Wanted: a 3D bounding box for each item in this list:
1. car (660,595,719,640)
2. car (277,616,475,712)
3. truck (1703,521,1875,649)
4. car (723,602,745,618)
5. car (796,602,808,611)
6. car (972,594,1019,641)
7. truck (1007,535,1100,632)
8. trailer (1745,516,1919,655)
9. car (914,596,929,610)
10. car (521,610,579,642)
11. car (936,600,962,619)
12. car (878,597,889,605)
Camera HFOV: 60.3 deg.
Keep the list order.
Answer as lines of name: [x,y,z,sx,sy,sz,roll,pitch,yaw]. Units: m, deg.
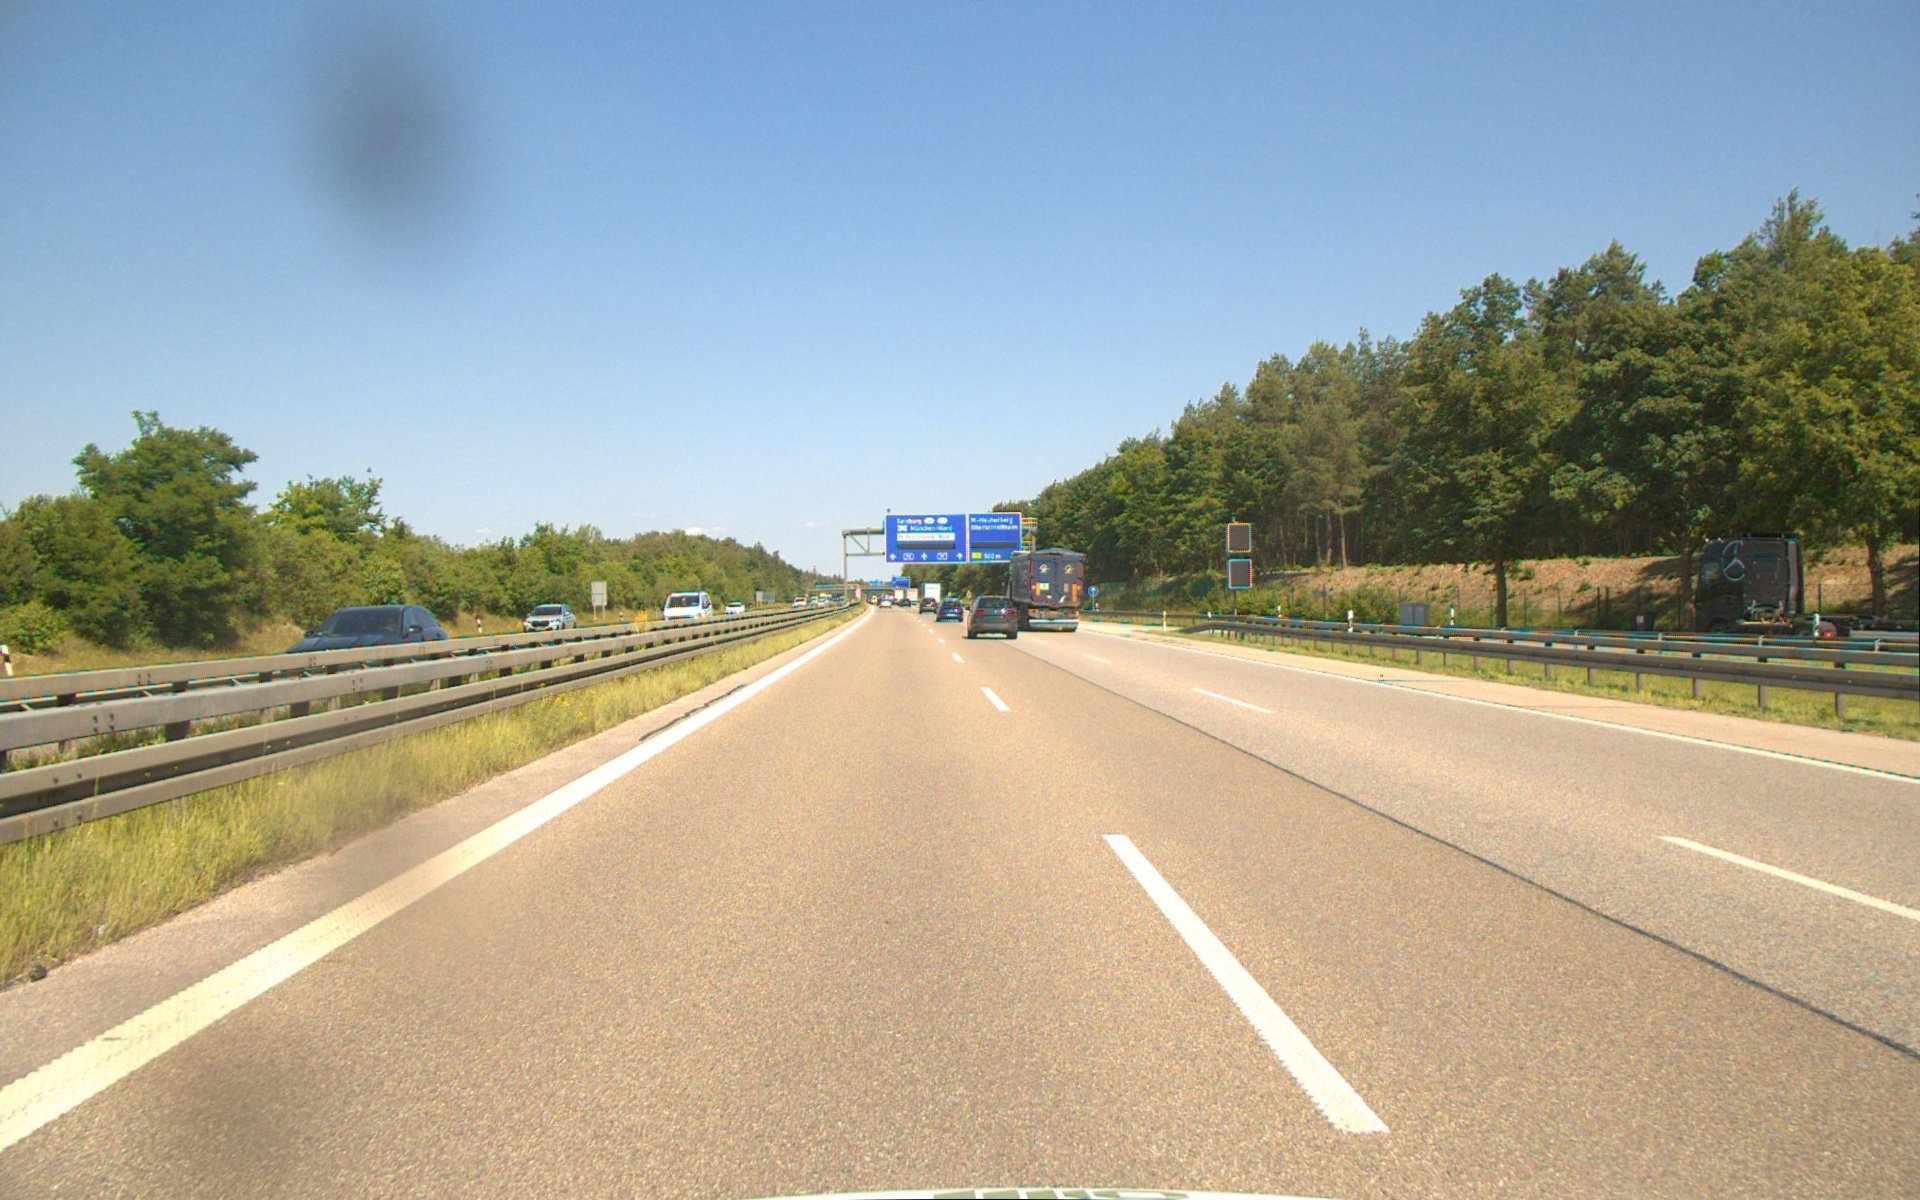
car: [-12.437,0.756,76.285,1.881,1.905,5.515,3,0,-2]
car: [-9.875,1.028,28.319,1.953,1.464,4.203,0,0,-1]
truck: [27.017,-0.480,54.110,2.528,3.983,4.848,0,0,-14]
car: [-24.619,1.066,180.224,1.953,1.621,4.299,-1,0,-1]
car: [-24.243,0.998,253.907,1.571,1.322,3.790,0,0,-1]
car: [1.399,0.650,64.215,1.762,1.698,4.259,1,1,2]
truck: [4.550,-0.831,83.829,3.703,4.499,14.048,0,0,-1]
trailer: [28.492,-0.417,48.337,2.528,3.983,12.701,0,0,-14]
car: [-3.952,0.307,168.305,1.441,1.422,3.410,2,0,-1]
car: [-19.967,1.237,80.730,1.751,1.464,4.520,0,0,-1]
car: [-0.773,0.637,110.661,1.674,1.176,3.688,-1,0,-1]
car: [-11.638,0.121,252.072,1.441,1.249,3.410,-1,0,-1]
